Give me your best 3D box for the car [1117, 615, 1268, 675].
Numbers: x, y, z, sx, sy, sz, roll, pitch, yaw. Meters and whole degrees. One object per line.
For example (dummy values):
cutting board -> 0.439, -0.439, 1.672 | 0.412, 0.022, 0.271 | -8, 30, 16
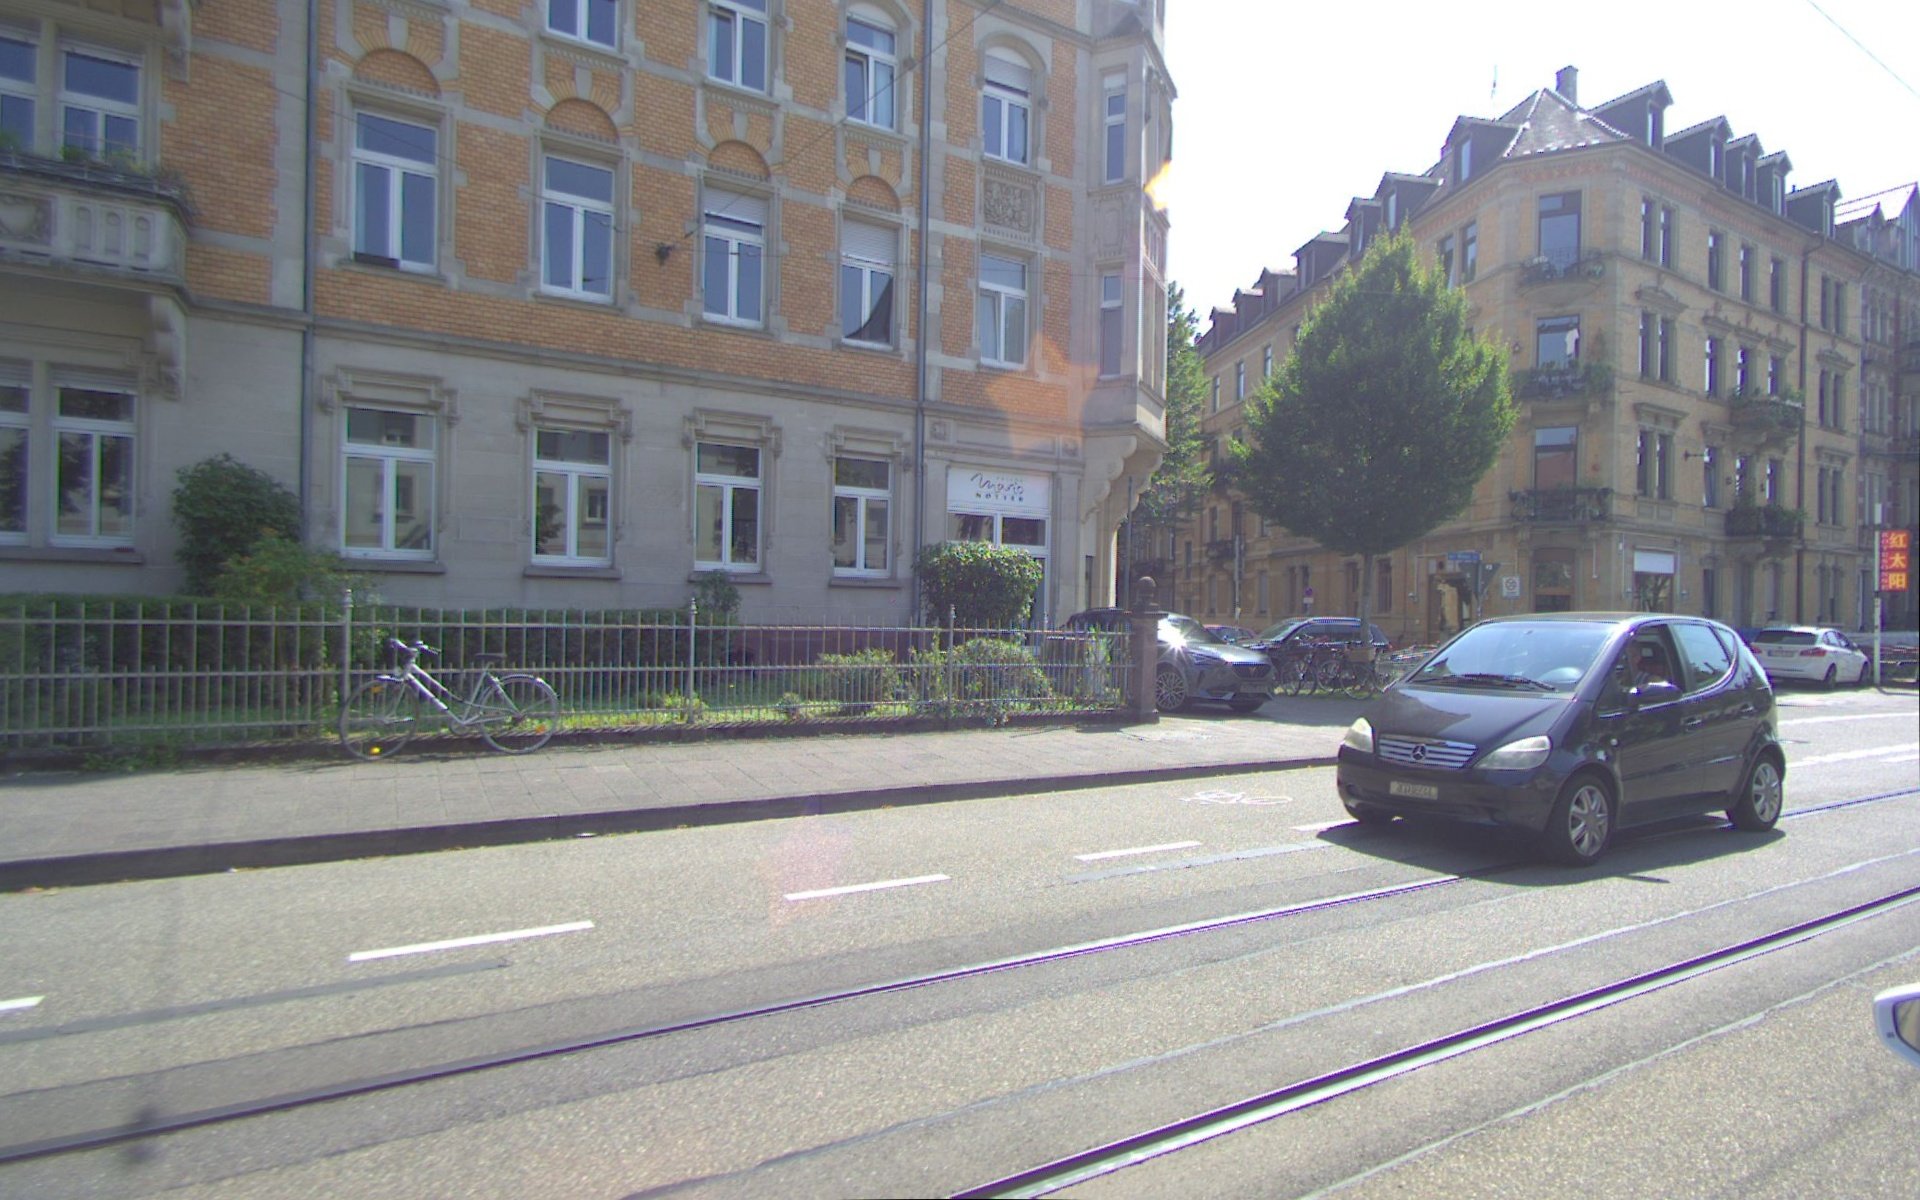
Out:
car -> 6.490, 1.244, 28.223 | 3.692, 1.496, 1.847 | 3, -1, -10

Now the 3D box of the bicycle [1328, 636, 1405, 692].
bicycle -> 8.379, 1.309, 20.713 | 1.424, 1.113, 0.390 | 1, 0, -5

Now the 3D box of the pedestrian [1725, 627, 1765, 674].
pedestrian -> 26.374, 1.672, 33.747 | 0.878, 1.531, 0.860 | 2, -1, -38

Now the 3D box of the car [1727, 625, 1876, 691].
car -> 22.689, 1.538, 27.036 | 4.314, 1.615, 1.981 | 2, -1, -34

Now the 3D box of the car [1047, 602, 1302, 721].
car -> 3.310, 0.886, 16.308 | 1.855, 1.615, 4.085 | 2, 0, -28

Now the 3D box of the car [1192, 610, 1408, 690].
car -> 7.784, 1.137, 23.204 | 4.280, 1.711, 1.997 | 1, -1, -9

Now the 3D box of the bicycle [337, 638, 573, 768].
bicycle -> -4.418, 0.873, 8.882 | 1.811, 1.052, 0.388 | 1, 0, -30

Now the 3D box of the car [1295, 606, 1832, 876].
car -> 4.628, 0.869, 7.607 | 3.953, 1.561, 1.819 | 1, -1, -30

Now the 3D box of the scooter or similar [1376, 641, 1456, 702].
scooter or similar -> 8.727, 1.359, 19.231 | 1.368, 1.113, 0.595 | 1, 0, -20

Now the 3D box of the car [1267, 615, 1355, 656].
car -> 13.044, 1.295, 37.588 | 1.741, 1.382, 3.713 | 2, -1, -4

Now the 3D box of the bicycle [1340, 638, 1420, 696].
bicycle -> 8.355, 1.328, 19.994 | 1.424, 1.113, 0.390 | 1, 0, -5

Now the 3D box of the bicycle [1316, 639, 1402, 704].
bicycle -> 7.451, 1.318, 18.803 | 1.429, 1.113, 0.389 | 1, 0, 38

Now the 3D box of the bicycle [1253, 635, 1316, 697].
bicycle -> 6.400, 1.285, 19.879 | 0.384, 1.113, 1.445 | 1, 0, -18
